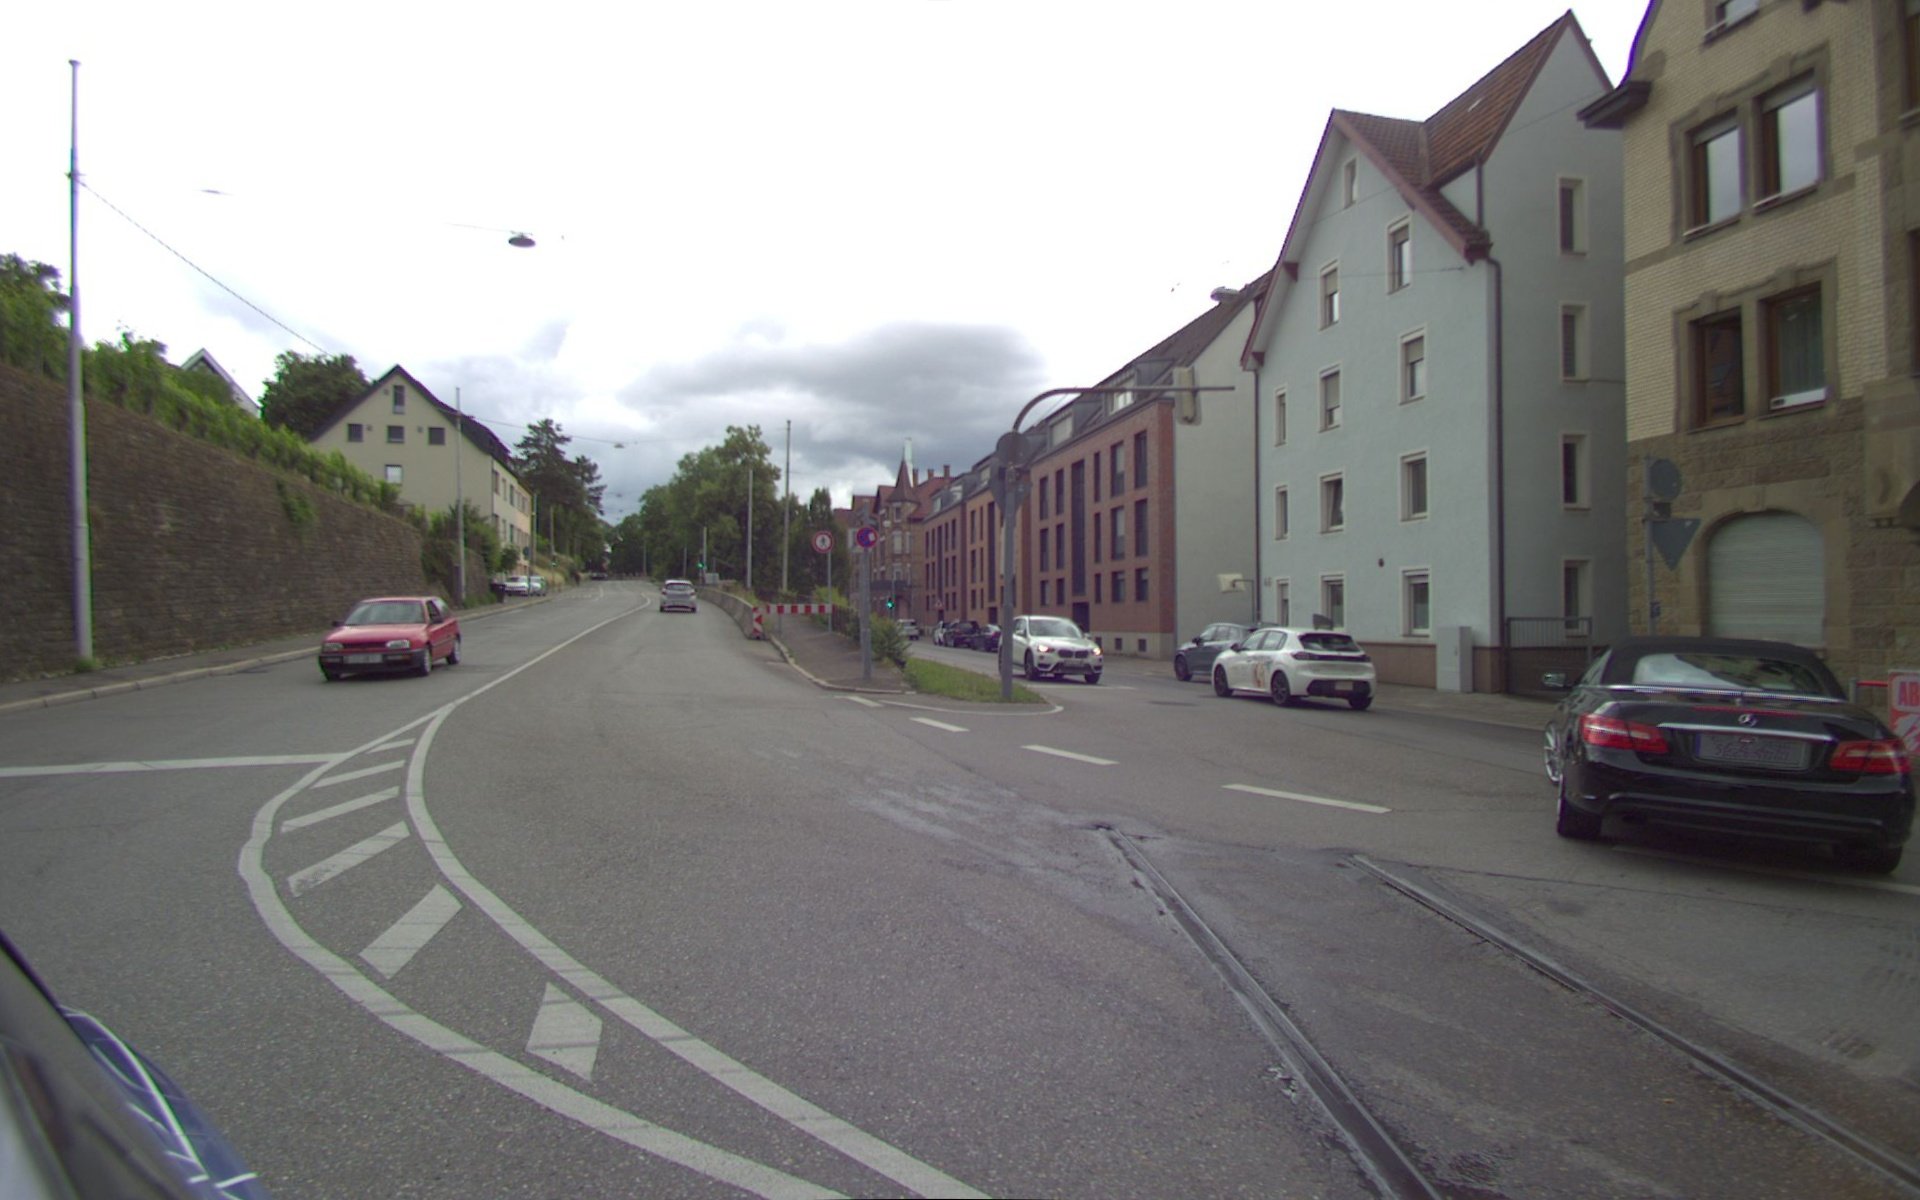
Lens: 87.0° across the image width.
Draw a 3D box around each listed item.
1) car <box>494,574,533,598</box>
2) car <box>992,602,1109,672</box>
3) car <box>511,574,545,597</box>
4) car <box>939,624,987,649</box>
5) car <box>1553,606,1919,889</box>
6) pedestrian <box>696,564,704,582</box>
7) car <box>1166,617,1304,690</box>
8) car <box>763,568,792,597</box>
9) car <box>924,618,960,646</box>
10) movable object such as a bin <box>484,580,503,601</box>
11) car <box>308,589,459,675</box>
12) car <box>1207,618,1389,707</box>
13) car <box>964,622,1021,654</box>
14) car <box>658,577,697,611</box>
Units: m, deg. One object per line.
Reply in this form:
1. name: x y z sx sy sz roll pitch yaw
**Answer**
1. car: -30.890 -0.995 70.110 1.770 1.586 4.067 -1 2 -15
2. car: 2.209 0.867 26.037 1.803 1.525 4.434 -1 1 -11
3. car: -32.092 -1.084 75.314 1.704 1.586 4.262 -1 2 -15
4. car: 0.139 2.153 60.281 1.967 1.320 4.010 2 -1 -12
5. car: 5.429 0.823 7.431 1.760 1.420 4.354 1 -1 30
6. pedestrian: -24.081 -2.497 93.757 0.723 1.725 0.698 0 1 -12
7. car: 7.106 1.332 26.605 1.659 1.567 4.245 -1 1 -14
8. car: -17.336 -1.685 96.112 2.525 2.600 5.750 -1 2 -12
9. car: -1.200 2.054 65.609 1.681 1.511 3.654 -1 3 -12
10. movable object such as a bin: -25.121 -0.522 54.496 0.798 1.135 0.877 0 1 -15
11. car: -10.699 0.514 19.065 1.619 1.449 4.012 0 1 -17
12. car: 6.284 1.111 19.314 1.659 1.477 3.926 2 -1 -9
13. car: 1.649 1.978 53.208 1.966 1.497 4.011 2 0 -14
14. car: -13.454 -0.252 48.106 1.646 1.479 3.654 2 -1 -17
